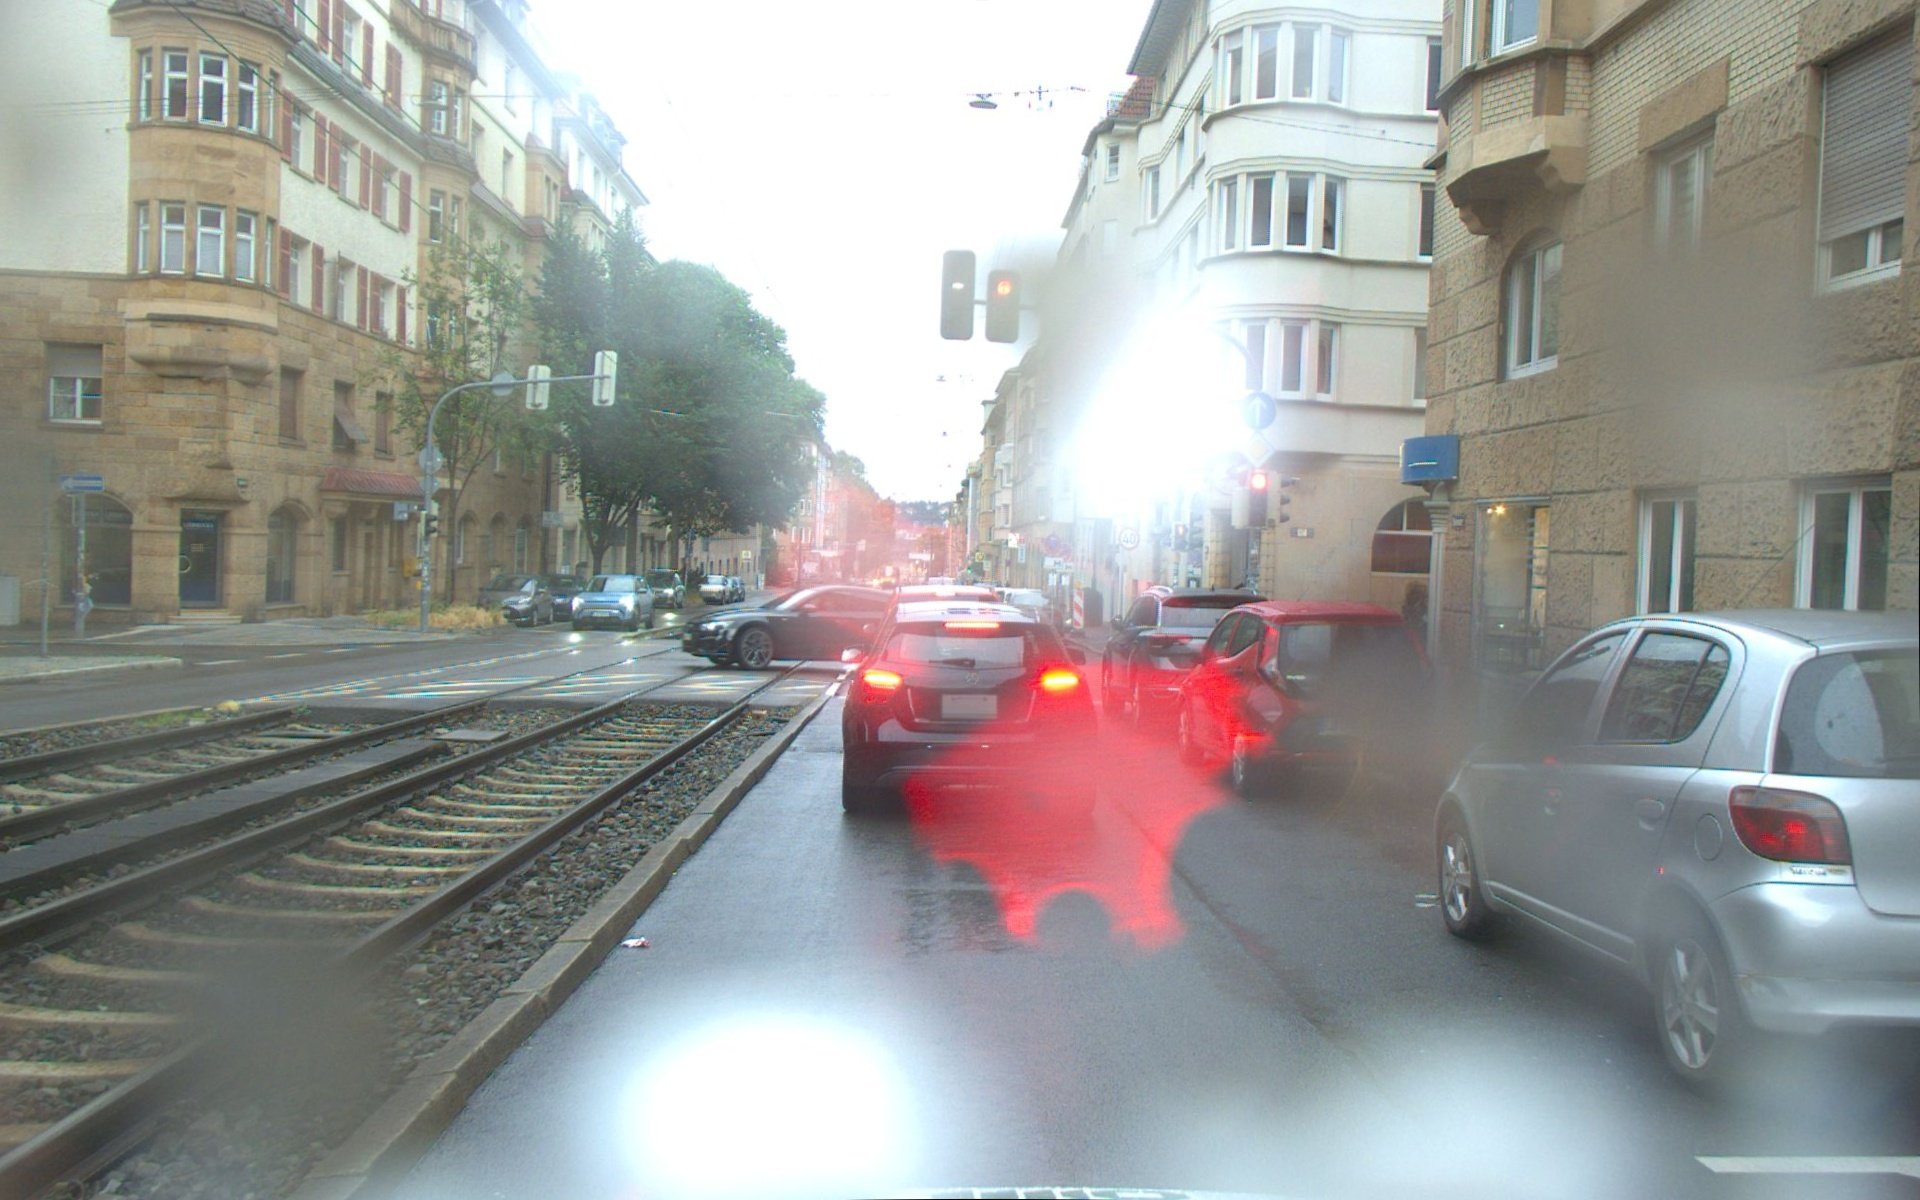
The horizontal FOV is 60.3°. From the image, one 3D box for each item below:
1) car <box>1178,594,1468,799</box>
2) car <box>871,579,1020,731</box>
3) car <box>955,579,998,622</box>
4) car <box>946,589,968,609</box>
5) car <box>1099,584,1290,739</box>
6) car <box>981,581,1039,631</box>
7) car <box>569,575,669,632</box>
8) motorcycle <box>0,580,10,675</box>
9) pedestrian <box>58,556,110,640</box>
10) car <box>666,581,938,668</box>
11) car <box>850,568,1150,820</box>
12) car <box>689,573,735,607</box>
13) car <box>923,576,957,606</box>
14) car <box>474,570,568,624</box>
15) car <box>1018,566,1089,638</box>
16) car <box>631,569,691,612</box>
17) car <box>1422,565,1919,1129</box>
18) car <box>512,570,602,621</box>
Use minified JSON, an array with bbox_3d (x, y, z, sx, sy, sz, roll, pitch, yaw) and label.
[{"bbox_3d":[2.873,0.704,13.704,1.570,1.444,3.147,2,0,-3],"label":"car"},{"bbox_3d":[-0.178,0.562,19.268,1.504,1.536,3.999,2,0,-1],"label":"car"},{"bbox_3d":[0.728,0.035,74.074,1.815,1.829,3.811,1,-1,-1],"label":"car"},{"bbox_3d":[-0.280,-0.145,150.550,1.870,1.735,3.999,2,0,-1],"label":"car"},{"bbox_3d":[2.585,0.622,19.036,1.518,1.534,3.999,2,0,-1],"label":"car"},{"bbox_3d":[1.857,0.252,62.233,1.733,1.807,3.996,1,-1,-5],"label":"car"},{"bbox_3d":[-9.913,0.097,48.306,1.757,1.575,4.002,1,0,5],"label":"car"},{"bbox_3d":[-12.466,0.313,20.397,1.409,1.154,0.619,2,0,29],"label":"motorcycle"},{"bbox_3d":[-18.808,-0.044,35.522,0.595,1.763,0.865,2,0,0],"label":"pedestrian"},{"bbox_3d":[-2.709,0.423,28.384,4.212,1.310,1.984,2,0,-26],"label":"car"},{"bbox_3d":[0.195,0.618,12.429,1.907,1.592,3.641,1,0,-2],"label":"car"},{"bbox_3d":[-13.805,-0.555,92.156,1.953,1.825,3.999,2,0,-1],"label":"car"},{"bbox_3d":[-1.172,-0.532,97.949,1.882,1.684,4.000,2,0,0],"label":"car"},{"bbox_3d":[-12.847,-0.070,48.652,1.735,1.489,3.999,1,0,-1],"label":"car"},{"bbox_3d":[2.810,0.094,50.376,1.860,2.063,4.175,1,-1,-1],"label":"car"},{"bbox_3d":[-13.468,-0.417,74.696,1.953,1.825,3.999,2,0,-1],"label":"car"},{"bbox_3d":[3.100,0.706,6.388,1.604,1.569,3.465,2,0,0],"label":"car"},{"bbox_3d":[-13.097,-0.150,53.969,1.953,1.544,3.999,2,0,-1],"label":"car"}]
